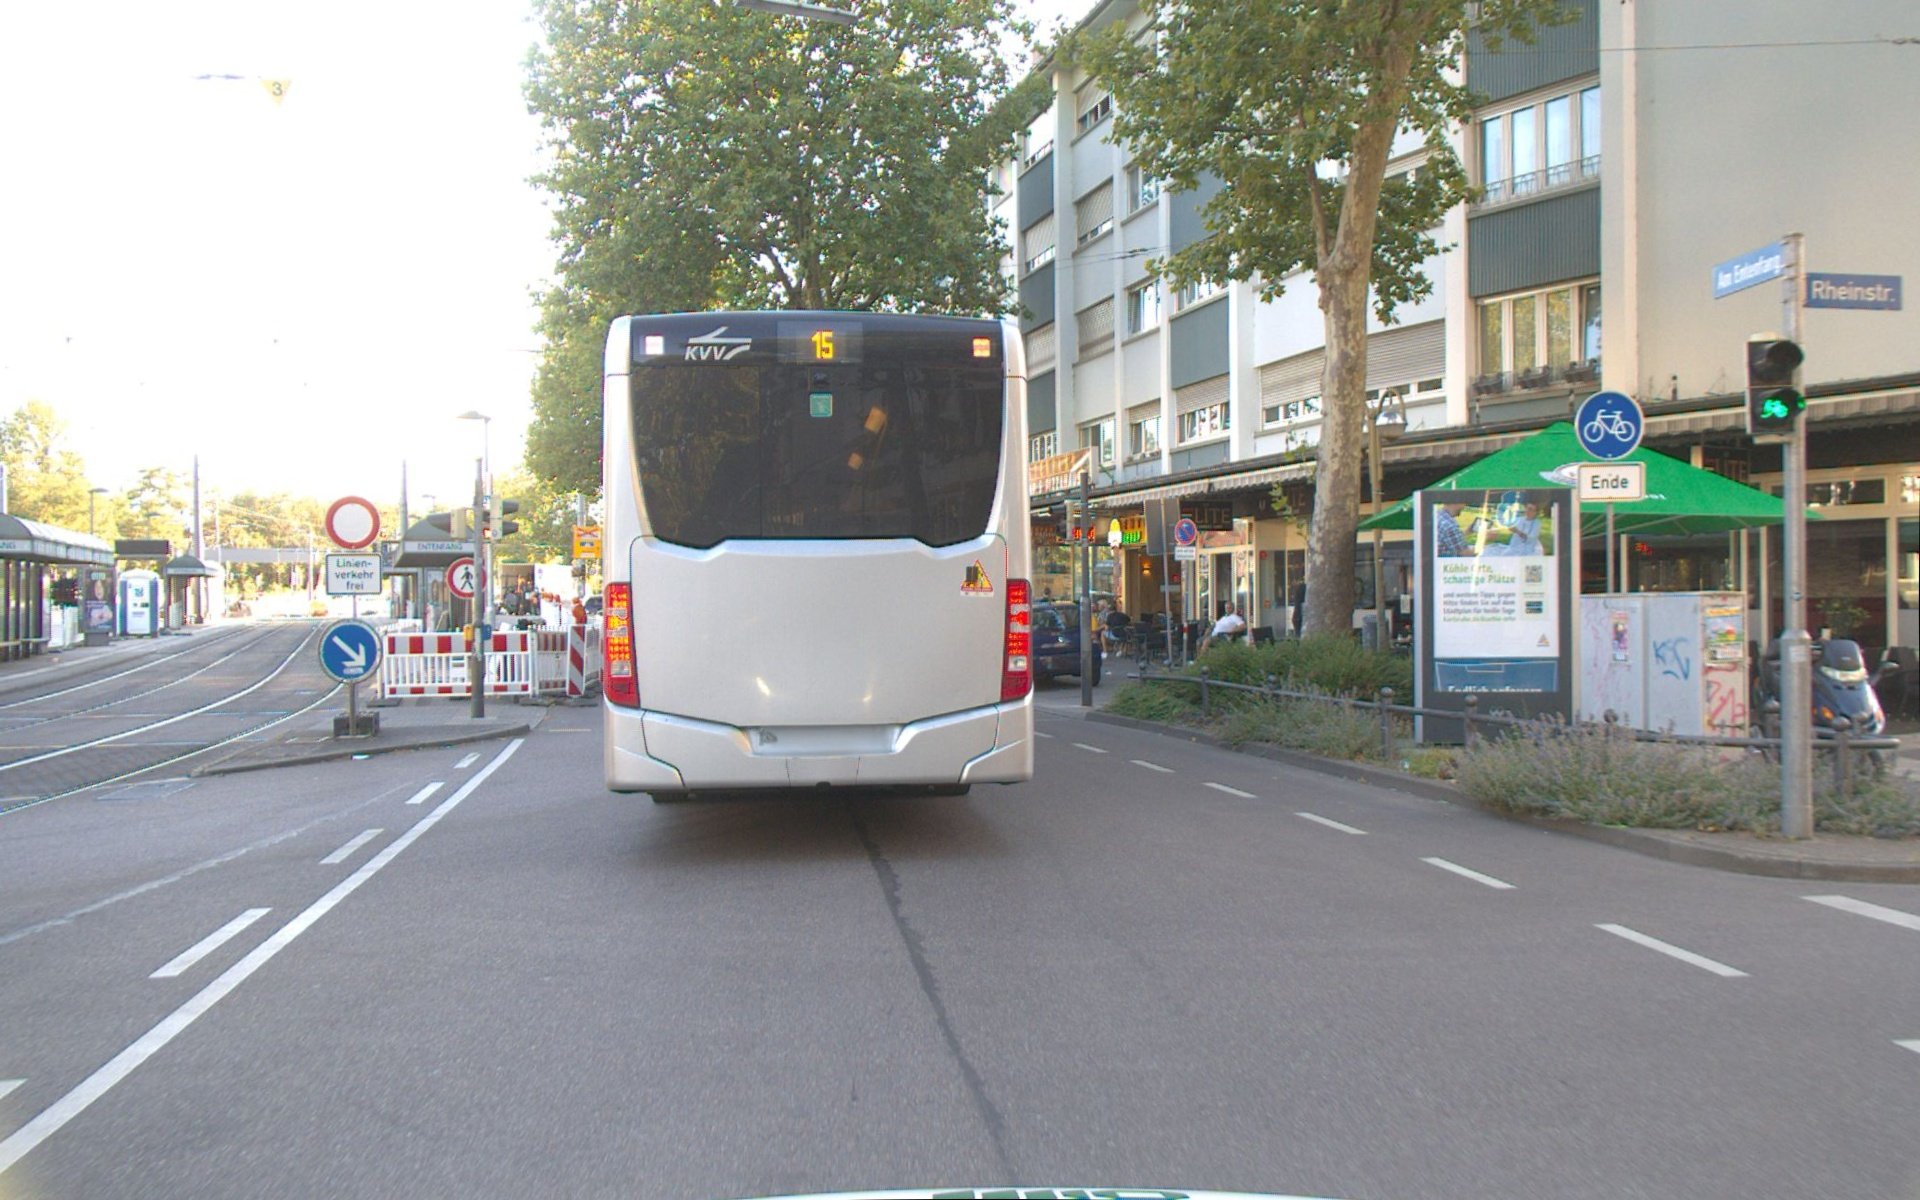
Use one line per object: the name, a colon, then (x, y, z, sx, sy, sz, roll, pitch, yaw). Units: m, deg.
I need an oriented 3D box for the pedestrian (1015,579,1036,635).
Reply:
pedestrian: (1.532, 0.164, 38.505, 0.381, 1.278, 0.391, 0, 0, -16)

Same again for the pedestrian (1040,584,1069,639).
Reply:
pedestrian: (2.221, 0.262, 38.954, 0.582, 1.278, 0.391, 0, 0, -15)

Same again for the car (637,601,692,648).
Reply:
car: (-9.876, 0.790, 55.162, 1.725, 1.489, 3.989, -1, 0, -11)

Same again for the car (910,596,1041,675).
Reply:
car: (0.268, 0.687, 34.007, 1.637, 1.419, 3.395, -4, 2, -18)

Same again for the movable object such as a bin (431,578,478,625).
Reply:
movable object such as a bin: (-28.439, 0.075, 93.011, 2.455, 2.520, 5.329, -1, 0, -17)

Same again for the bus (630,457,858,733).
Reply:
bus: (-3.308, -0.061, 24.191, 2.609, 3.153, 10.193, 0, 0, -9)

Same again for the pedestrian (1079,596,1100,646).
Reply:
pedestrian: (3.121, 0.510, 39.893, 0.385, 1.195, 0.386, 0, 0, -18)

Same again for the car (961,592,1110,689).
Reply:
car: (1.308, 0.678, 30.087, 1.636, 1.543, 3.397, -4, 2, -16)

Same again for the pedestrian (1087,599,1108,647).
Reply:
pedestrian: (3.277, 0.542, 39.437, 0.381, 1.141, 0.391, 0, 0, -17)

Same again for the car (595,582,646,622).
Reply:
car: (-13.287, 0.078, 64.591, 1.726, 1.489, 3.985, -1, 0, -14)

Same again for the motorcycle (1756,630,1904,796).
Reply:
motorcycle: (6.739, 0.844, 12.876, 0.558, 1.178, 1.462, 1, 0, 9)

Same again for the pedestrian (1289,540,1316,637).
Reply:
pedestrian: (6.247, -0.206, 30.185, 0.351, 1.748, 0.308, 1, 0, -9)

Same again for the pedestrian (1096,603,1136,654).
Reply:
pedestrian: (3.510, 0.632, 37.250, 0.693, 1.128, 0.763, 0, 0, -16)

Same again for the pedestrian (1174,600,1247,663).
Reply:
pedestrian: (4.998, 0.617, 33.052, 1.158, 1.218, 0.922, 0, 0, -16)

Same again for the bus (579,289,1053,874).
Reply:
bus: (-1.579, -0.104, 14.183, 2.609, 3.153, 10.193, 0, 0, -9)
